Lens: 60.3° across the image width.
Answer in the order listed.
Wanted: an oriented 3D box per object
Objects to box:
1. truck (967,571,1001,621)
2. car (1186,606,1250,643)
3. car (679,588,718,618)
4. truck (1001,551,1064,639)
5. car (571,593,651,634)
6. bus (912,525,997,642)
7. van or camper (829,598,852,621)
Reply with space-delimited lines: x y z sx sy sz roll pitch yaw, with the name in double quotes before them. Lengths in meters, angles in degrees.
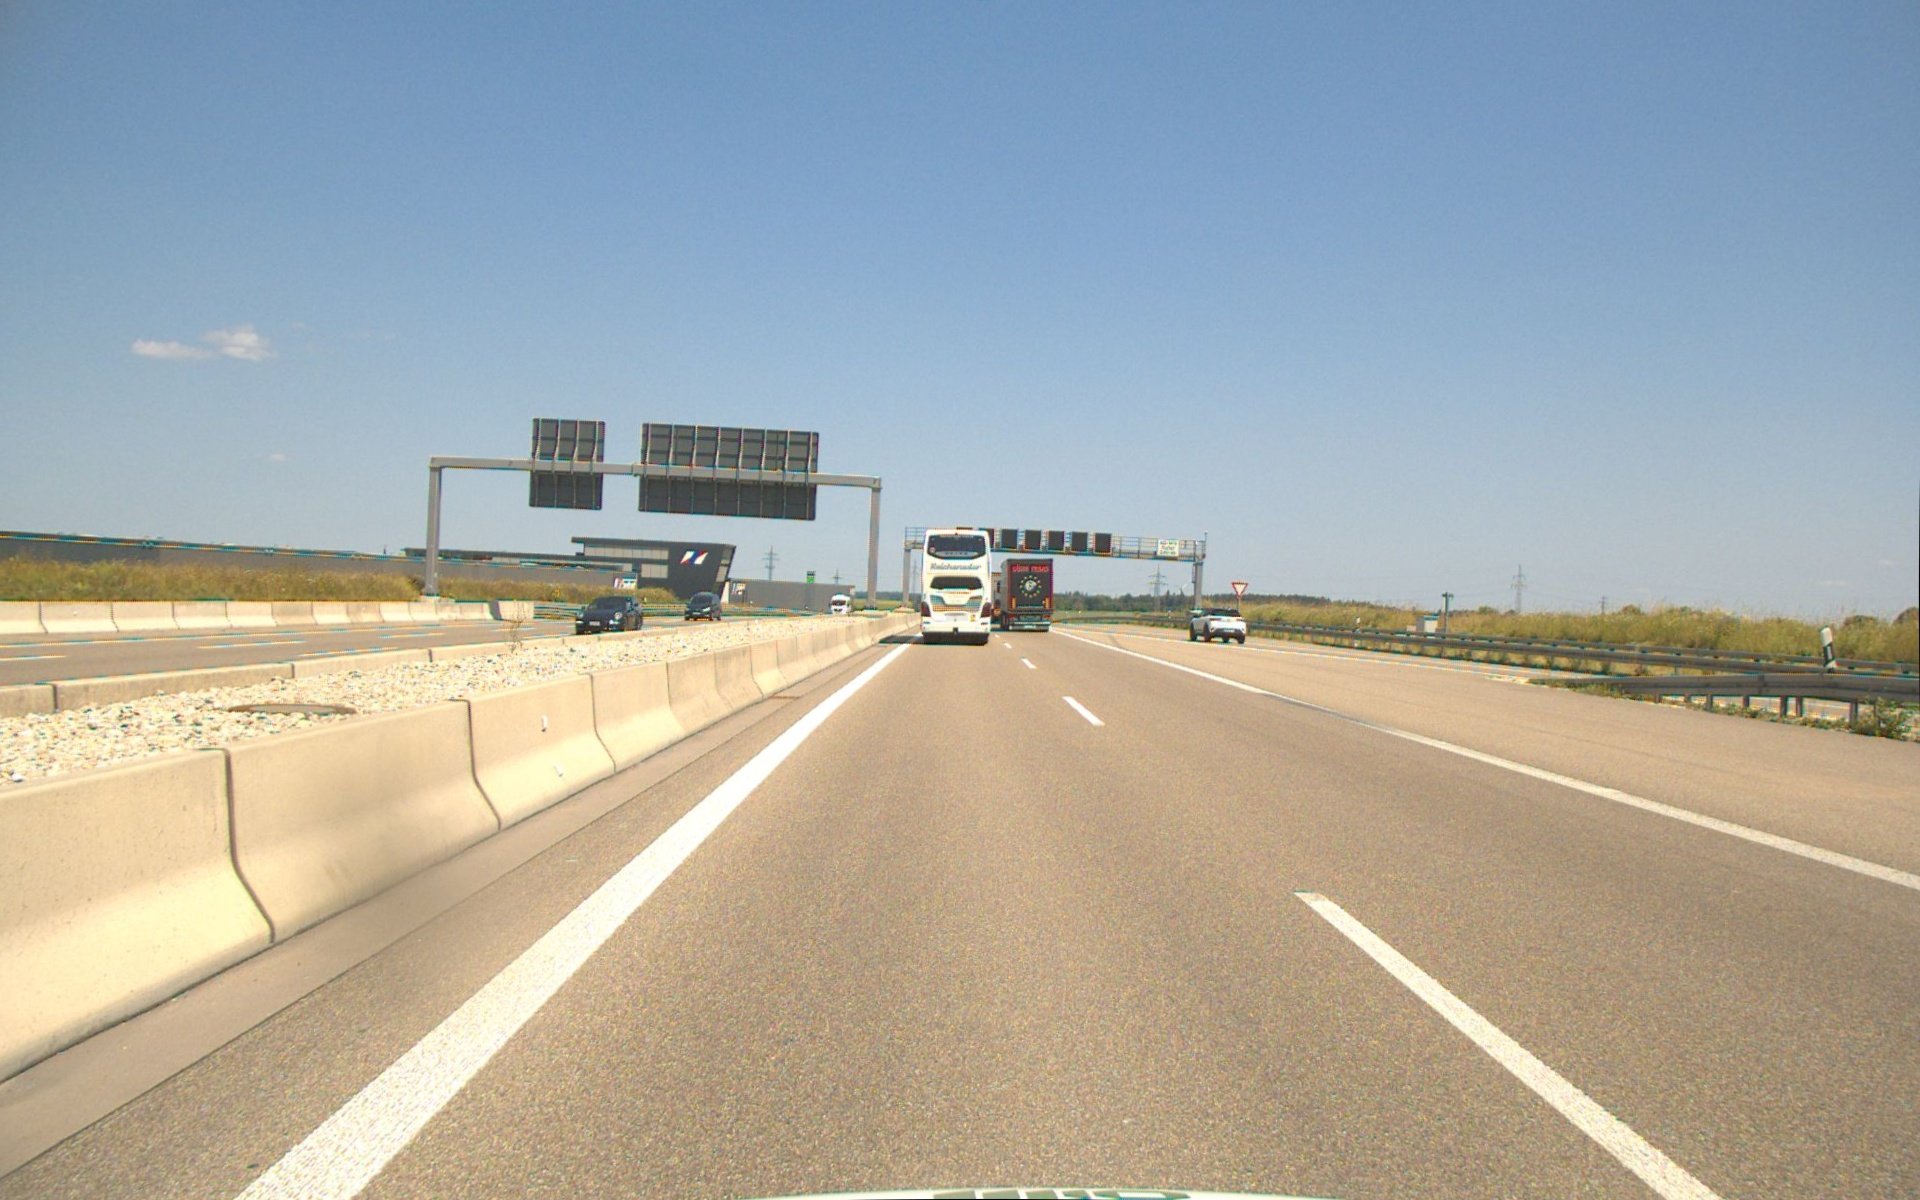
"truck" 1.903 -0.323 131.840 2.388 3.855 6.492 1 0 -1
"car" 11.518 1.066 74.121 1.854 1.556 4.258 1 0 -5
"car" -16.933 0.166 107.307 1.809 1.855 4.920 1 0 -1
"truck" 4.116 -0.113 97.331 3.310 4.542 13.567 2 -2 1
"car" -12.696 0.473 60.396 1.806 1.406 4.752 1 0 1
"bus" -0.322 -0.638 62.754 2.920 4.044 9.102 1 1 -2
"van or camper" -14.177 1.104 197.195 2.272 2.603 6.315 1 0 -1
